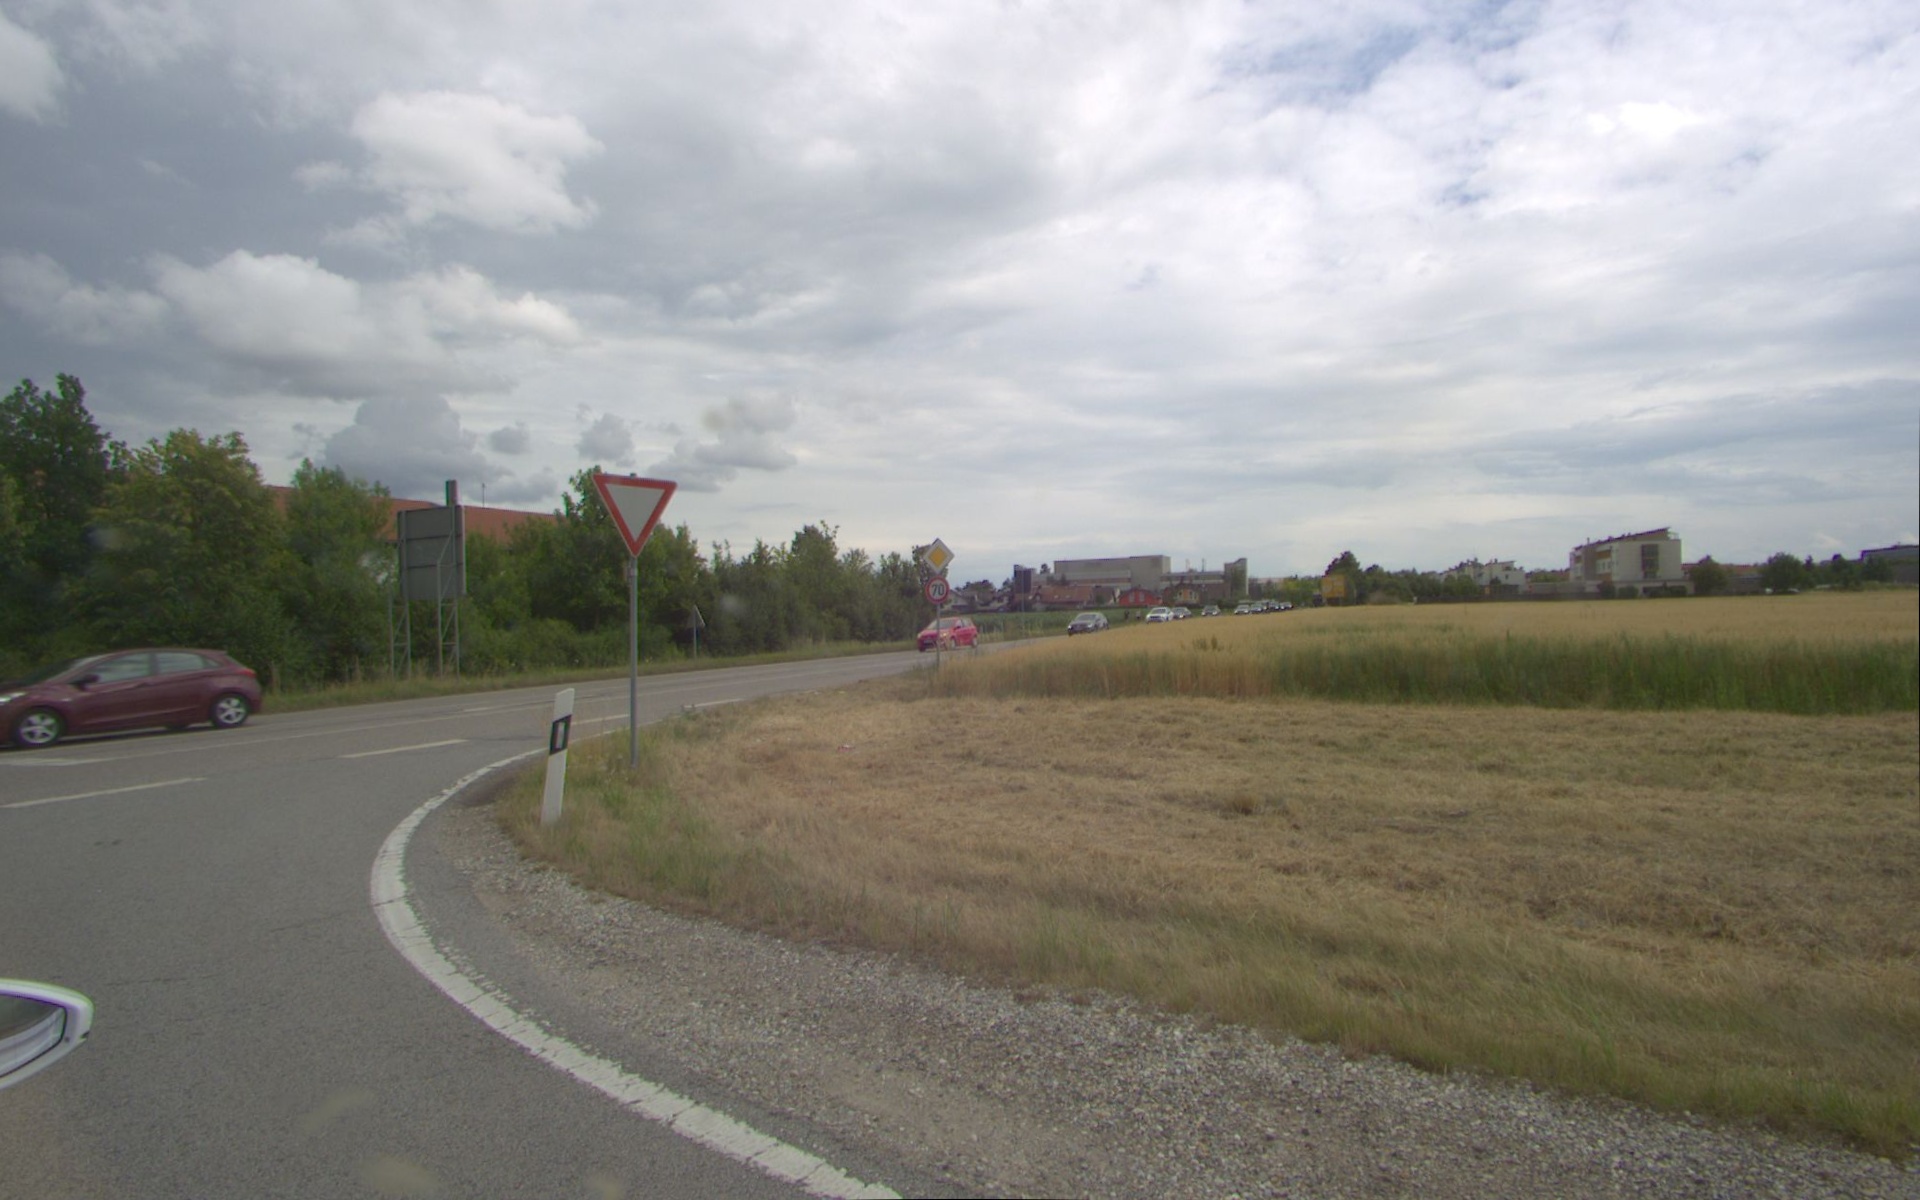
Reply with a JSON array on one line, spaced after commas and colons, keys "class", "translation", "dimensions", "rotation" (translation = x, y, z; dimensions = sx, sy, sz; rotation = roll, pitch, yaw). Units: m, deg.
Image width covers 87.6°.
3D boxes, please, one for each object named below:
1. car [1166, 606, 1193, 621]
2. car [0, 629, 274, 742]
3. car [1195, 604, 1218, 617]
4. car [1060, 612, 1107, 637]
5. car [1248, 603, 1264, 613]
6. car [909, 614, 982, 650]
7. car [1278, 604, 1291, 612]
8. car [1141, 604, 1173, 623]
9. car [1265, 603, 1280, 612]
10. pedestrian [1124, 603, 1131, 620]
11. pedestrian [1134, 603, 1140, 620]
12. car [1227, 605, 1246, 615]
[{"class": "car", "translation": [20.551, 1.234, 93.578], "dimensions": [1.825, 1.287, 3.519], "rotation": [-1, 0, 23]}, {"class": "car", "translation": [-13.982, 1.314, 16.355], "dimensions": [1.967, 1.483, 4.149], "rotation": [-2, 0, 23]}, {"class": "car", "translation": [26.145, 1.112, 106.088], "dimensions": [1.825, 1.287, 3.519], "rotation": [-1, 0, 23]}, {"class": "car", "translation": [7.823, 1.533, 63.348], "dimensions": [1.826, 1.486, 3.987], "rotation": [-1, 0, 24]}, {"class": "car", "translation": [41.495, 1.158, 140.371], "dimensions": [1.825, 1.287, 3.519], "rotation": [-1, 0, 23]}, {"class": "car", "translation": [-0.607, 1.464, 46.260], "dimensions": [1.826, 1.486, 3.987], "rotation": [-1, 0, 24]}, {"class": "car", "translation": [56.355, 1.365, 173.951], "dimensions": [1.825, 1.287, 3.519], "rotation": [-1, 0, 23]}, {"class": "car", "translation": [16.493, 1.094, 83.758], "dimensions": [1.825, 1.486, 3.988], "rotation": [-1, 0, 23]}, {"class": "car", "translation": [48.990, 1.159, 156.839], "dimensions": [1.825, 1.287, 3.519], "rotation": [-1, 0, 23]}, {"class": "pedestrian", "translation": [16.993, 1.174, 101.539], "dimensions": [0.521, 1.705, 0.626], "rotation": [0, 1, 19]}, {"class": "pedestrian", "translation": [17.929, 1.208, 101.290], "dimensions": [0.521, 1.705, 0.626], "rotation": [0, 1, 19]}, {"class": "car", "translation": [35.367, 1.262, 127.968], "dimensions": [1.825, 1.287, 3.519], "rotation": [-1, 0, 23]}]
